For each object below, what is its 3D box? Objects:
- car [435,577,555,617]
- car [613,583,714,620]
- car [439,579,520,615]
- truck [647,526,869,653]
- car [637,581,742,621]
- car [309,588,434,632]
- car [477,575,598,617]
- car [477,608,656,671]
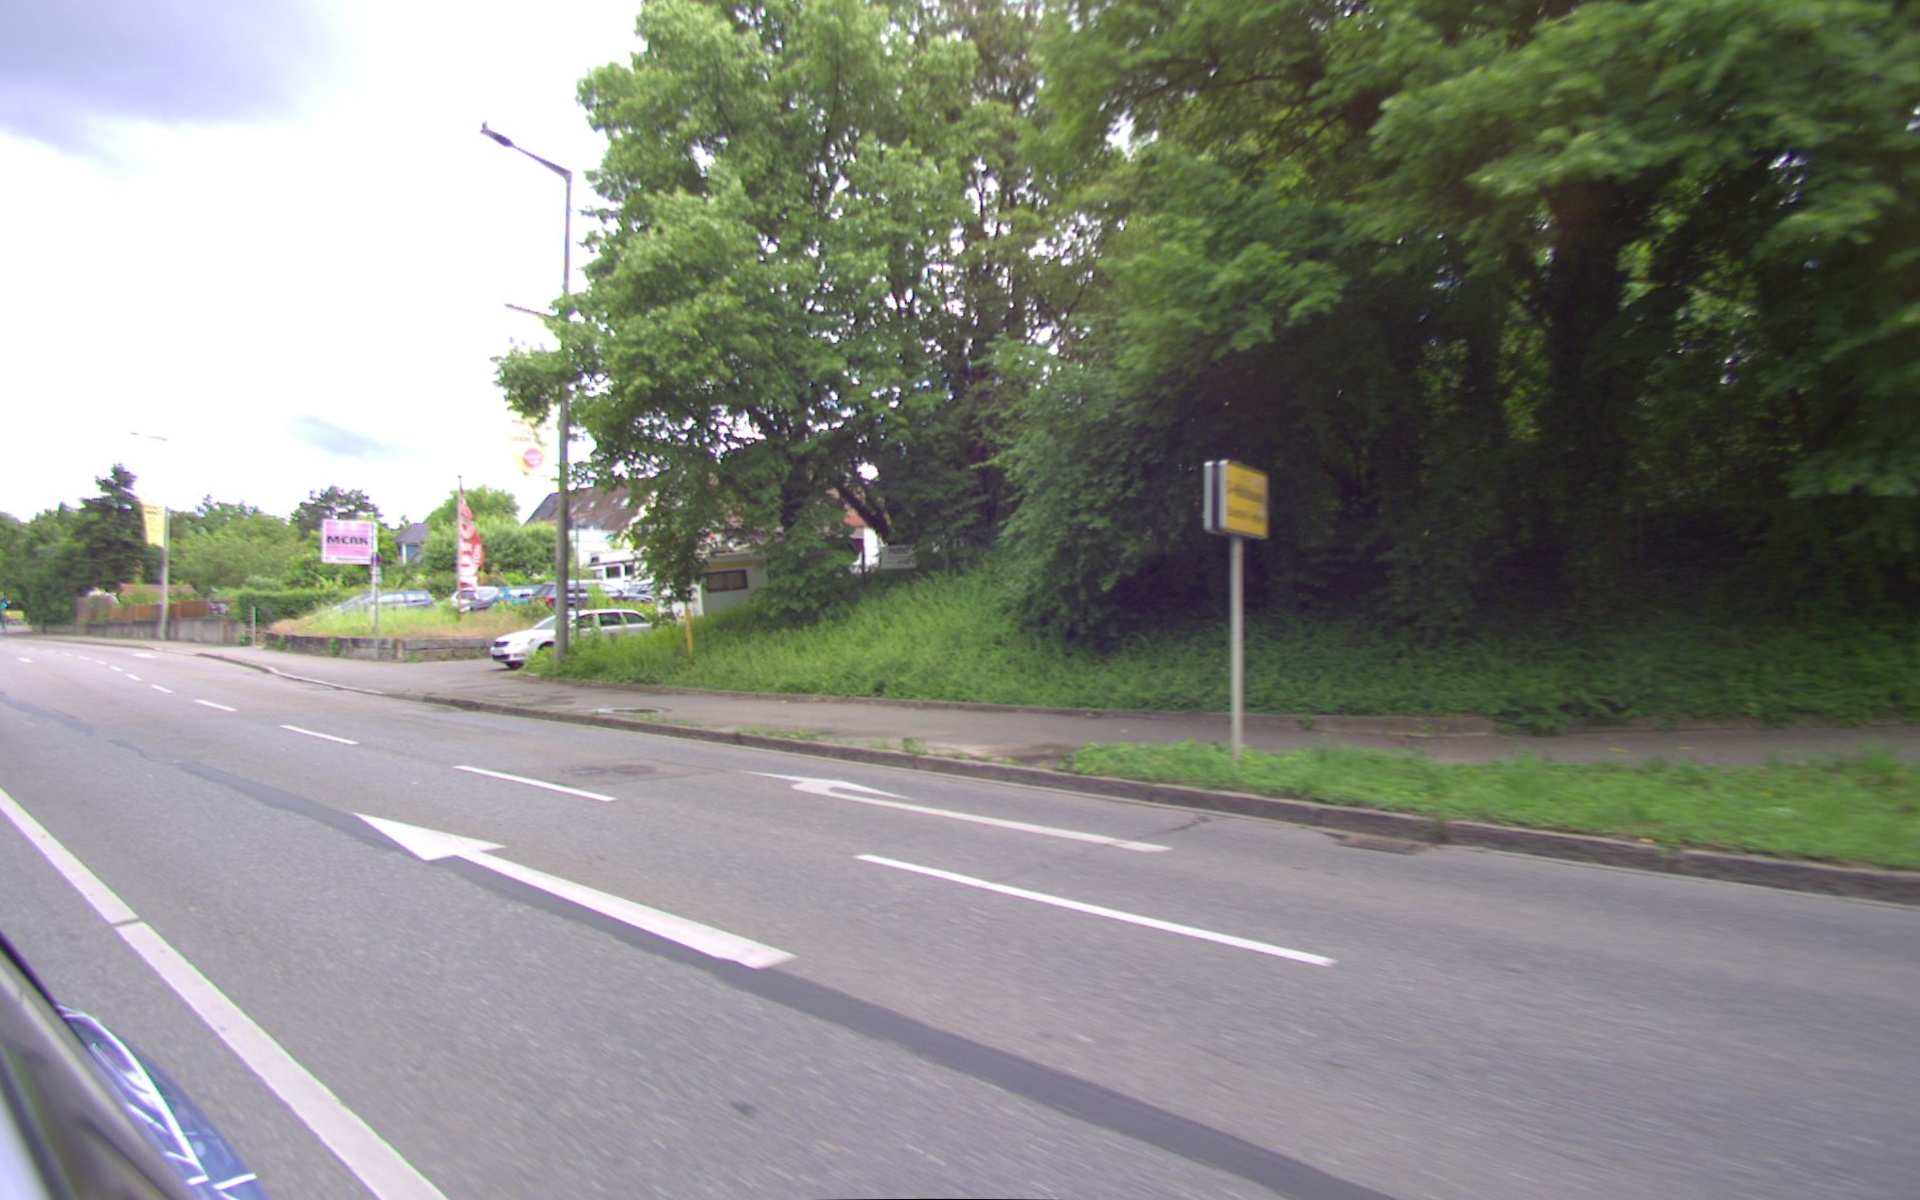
[{"bbox_3d":[-18.306,-0.139,39.980,1.734,1.519,3.946,-1,0,40],"label":"car"},{"bbox_3d":[-12.550,0.037,43.007,1.733,1.519,3.834,-1,0,40],"label":"car"},{"bbox_3d":[-20.741,-0.117,43.661,3.998,1.519,1.711,-1,0,41],"label":"car"},{"bbox_3d":[-6.312,-0.337,32.595,2.656,3.657,6.835,-1,0,40],"label":"truck"},{"bbox_3d":[-10.947,0.020,41.124,1.733,1.519,3.834,-1,0,40],"label":"car"},{"bbox_3d":[-23.113,0.370,39.857,1.878,1.630,3.855,-1,0,41],"label":"car"},{"bbox_3d":[-16.194,-0.167,38.957,1.734,1.519,3.946,-1,0,40],"label":"car"},{"bbox_3d":[-10.516,1.025,27.299,1.746,1.503,4.169,-3,-1,37],"label":"car"}]
